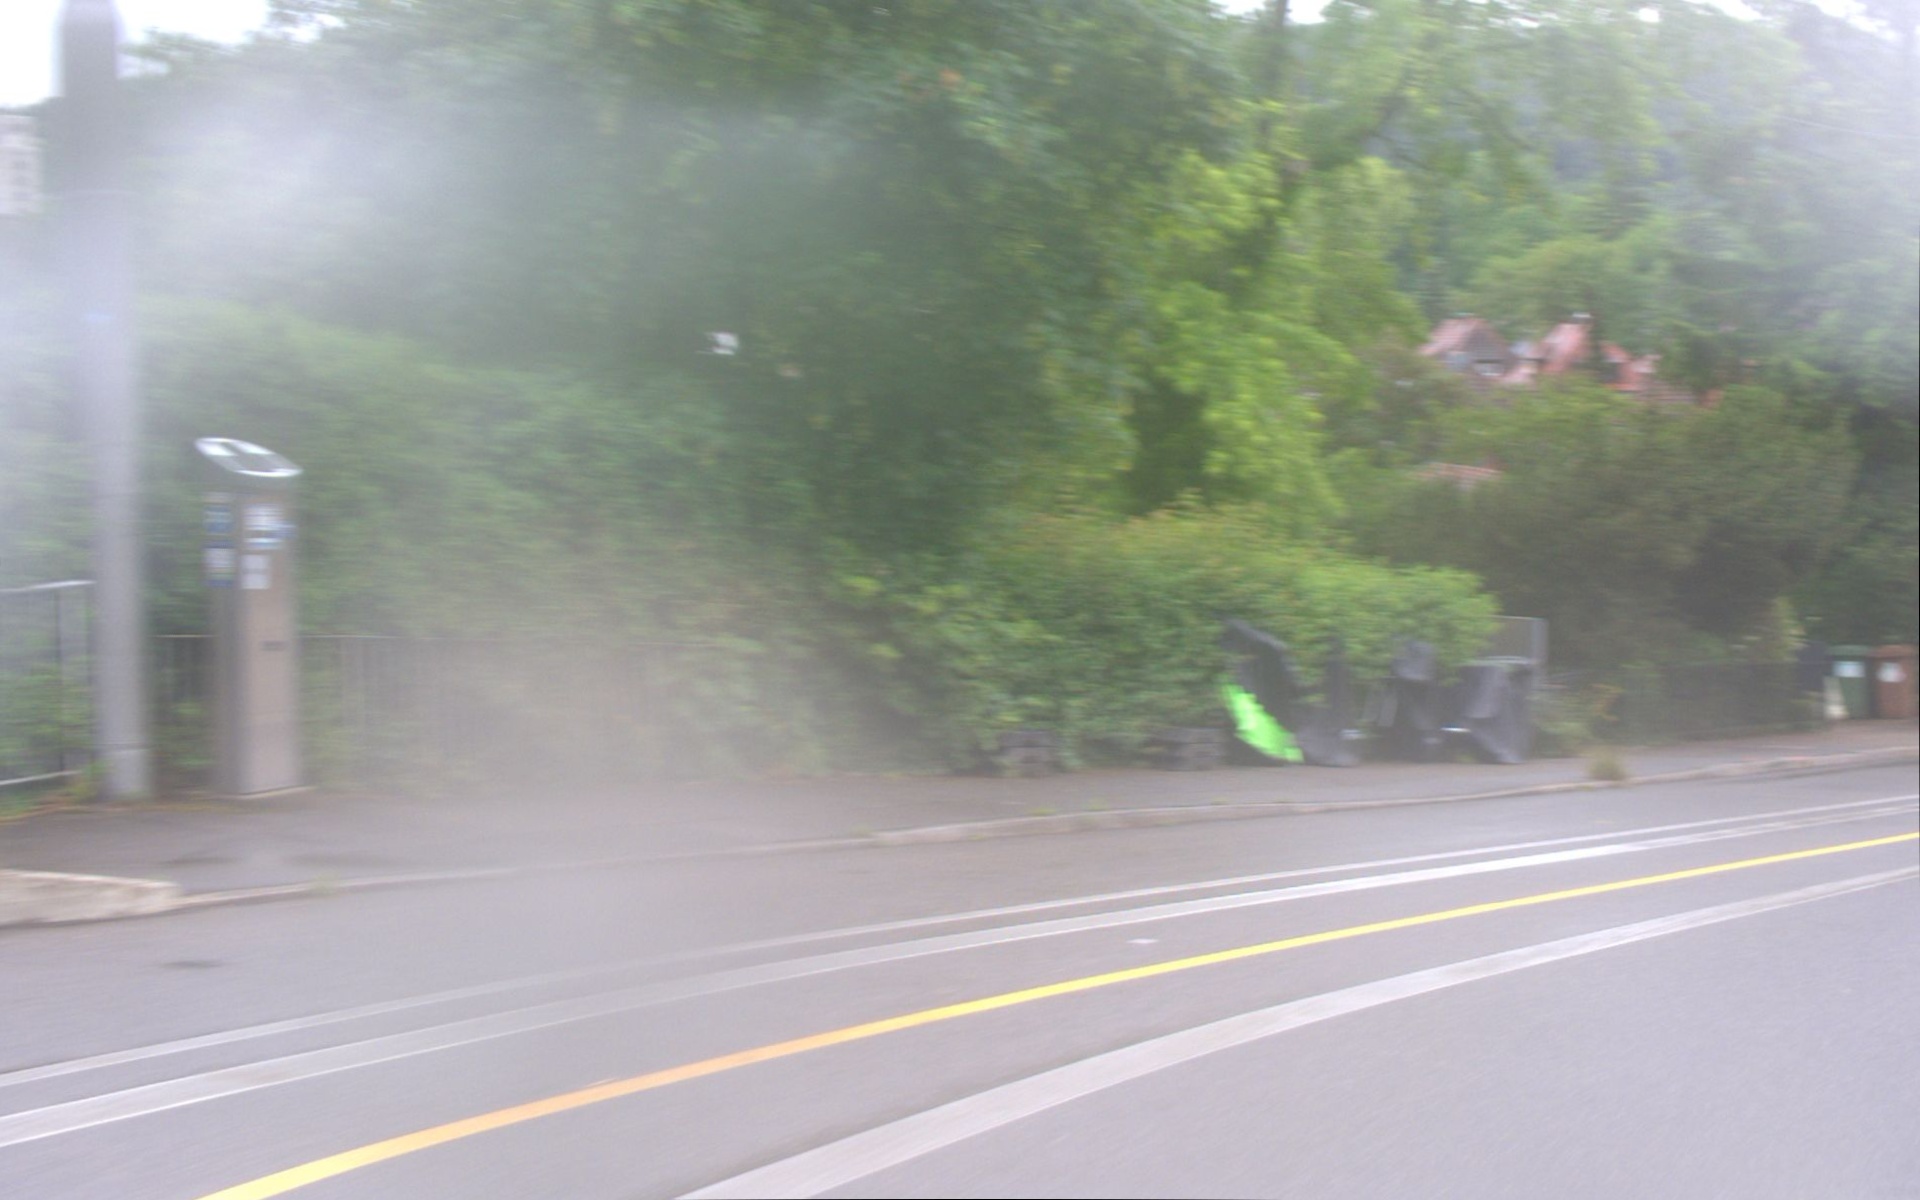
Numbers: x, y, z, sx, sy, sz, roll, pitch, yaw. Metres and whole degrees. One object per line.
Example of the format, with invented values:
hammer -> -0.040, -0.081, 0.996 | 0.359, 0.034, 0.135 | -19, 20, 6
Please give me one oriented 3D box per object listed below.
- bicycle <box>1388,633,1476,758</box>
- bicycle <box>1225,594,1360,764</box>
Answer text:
bicycle -> 4.285, 0.869, 31.187 | 0.338, 1.104, 1.254 | 2, -1, 28
bicycle -> 2.749, 0.658, 28.279 | 0.421, 1.345, 1.740 | 2, -1, 28
